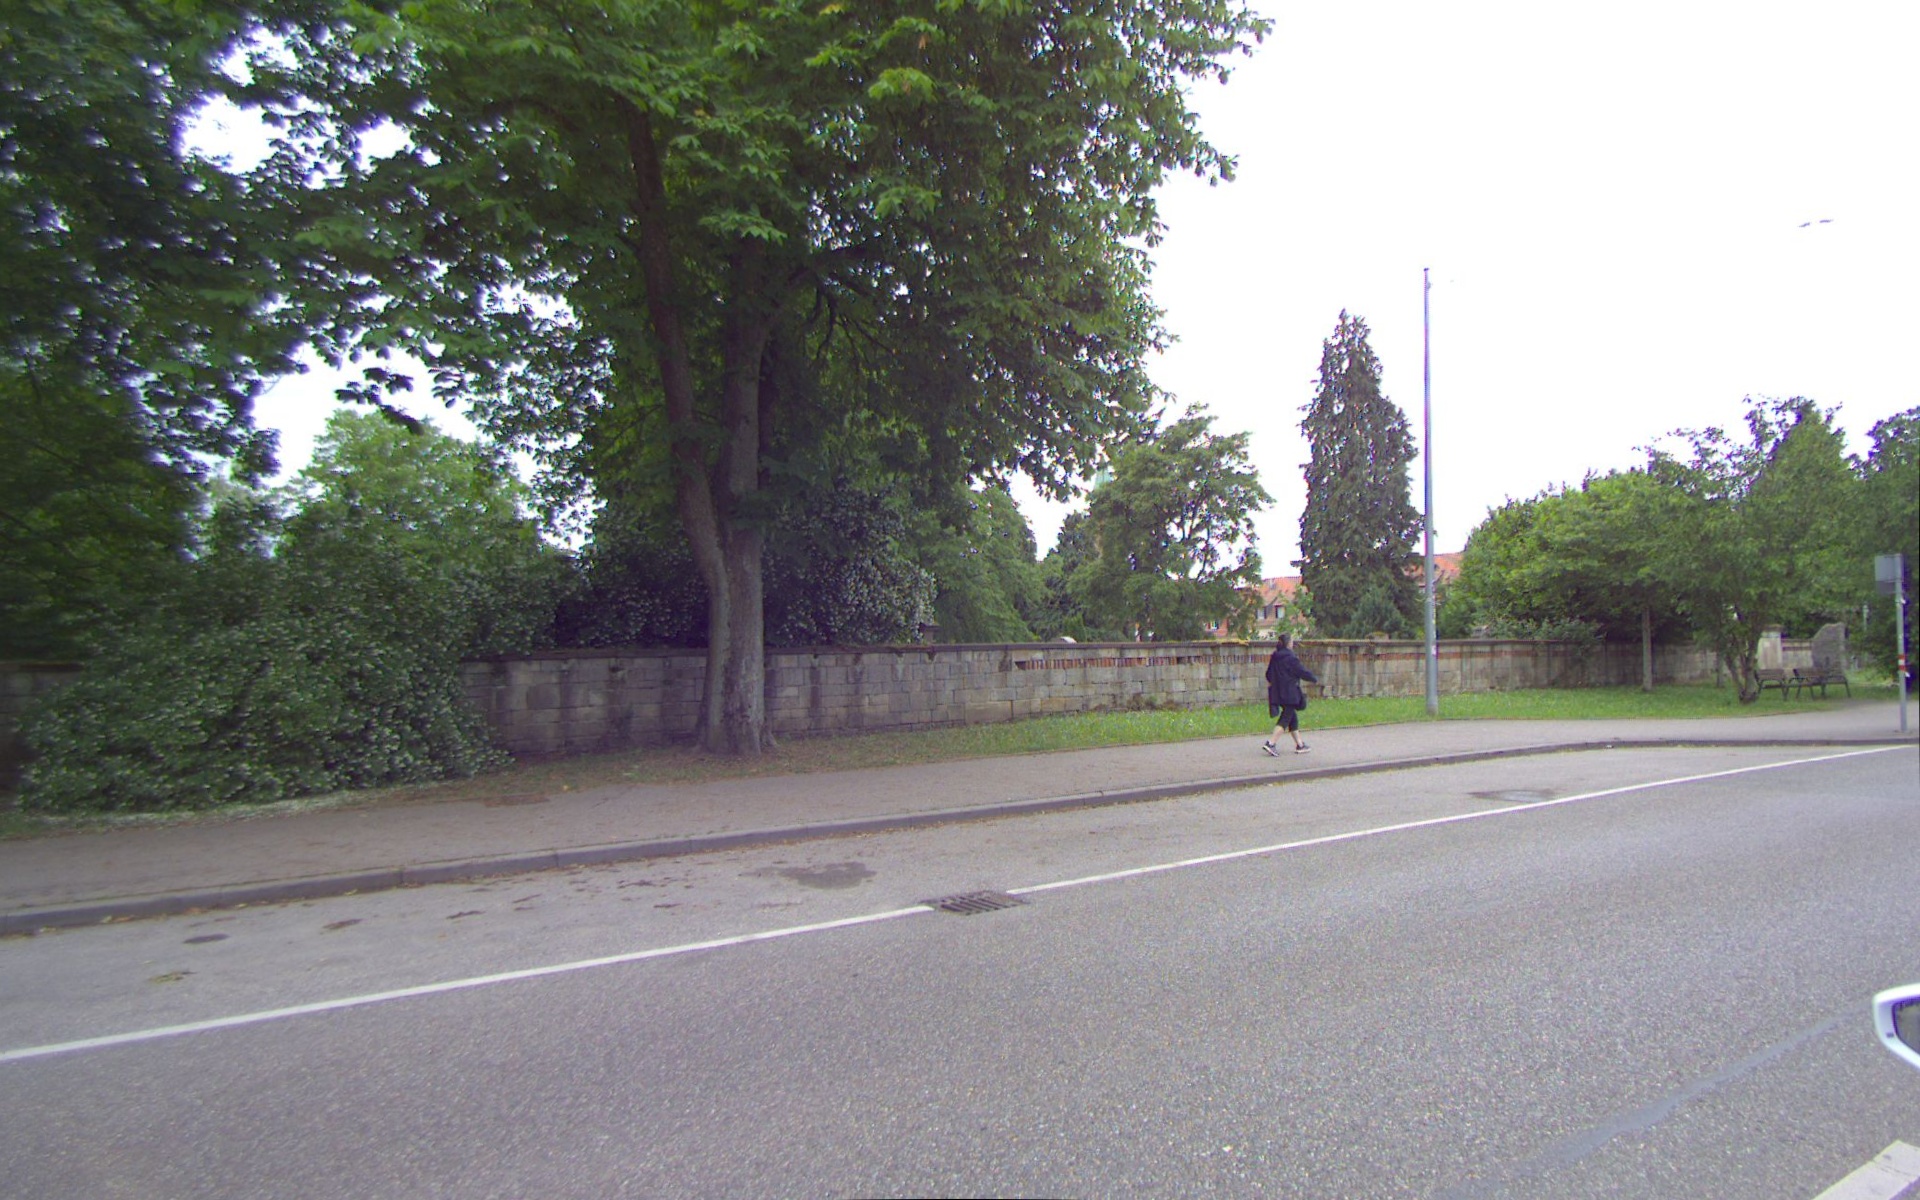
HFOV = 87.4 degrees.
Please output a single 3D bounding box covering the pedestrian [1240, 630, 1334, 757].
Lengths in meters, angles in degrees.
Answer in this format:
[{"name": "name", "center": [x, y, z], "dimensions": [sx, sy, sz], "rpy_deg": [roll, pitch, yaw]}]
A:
[{"name": "pedestrian", "center": [4.317, 1.204, 13.269], "dimensions": [0.955, 1.599, 0.745], "rpy_deg": [1, -1, -30]}]
